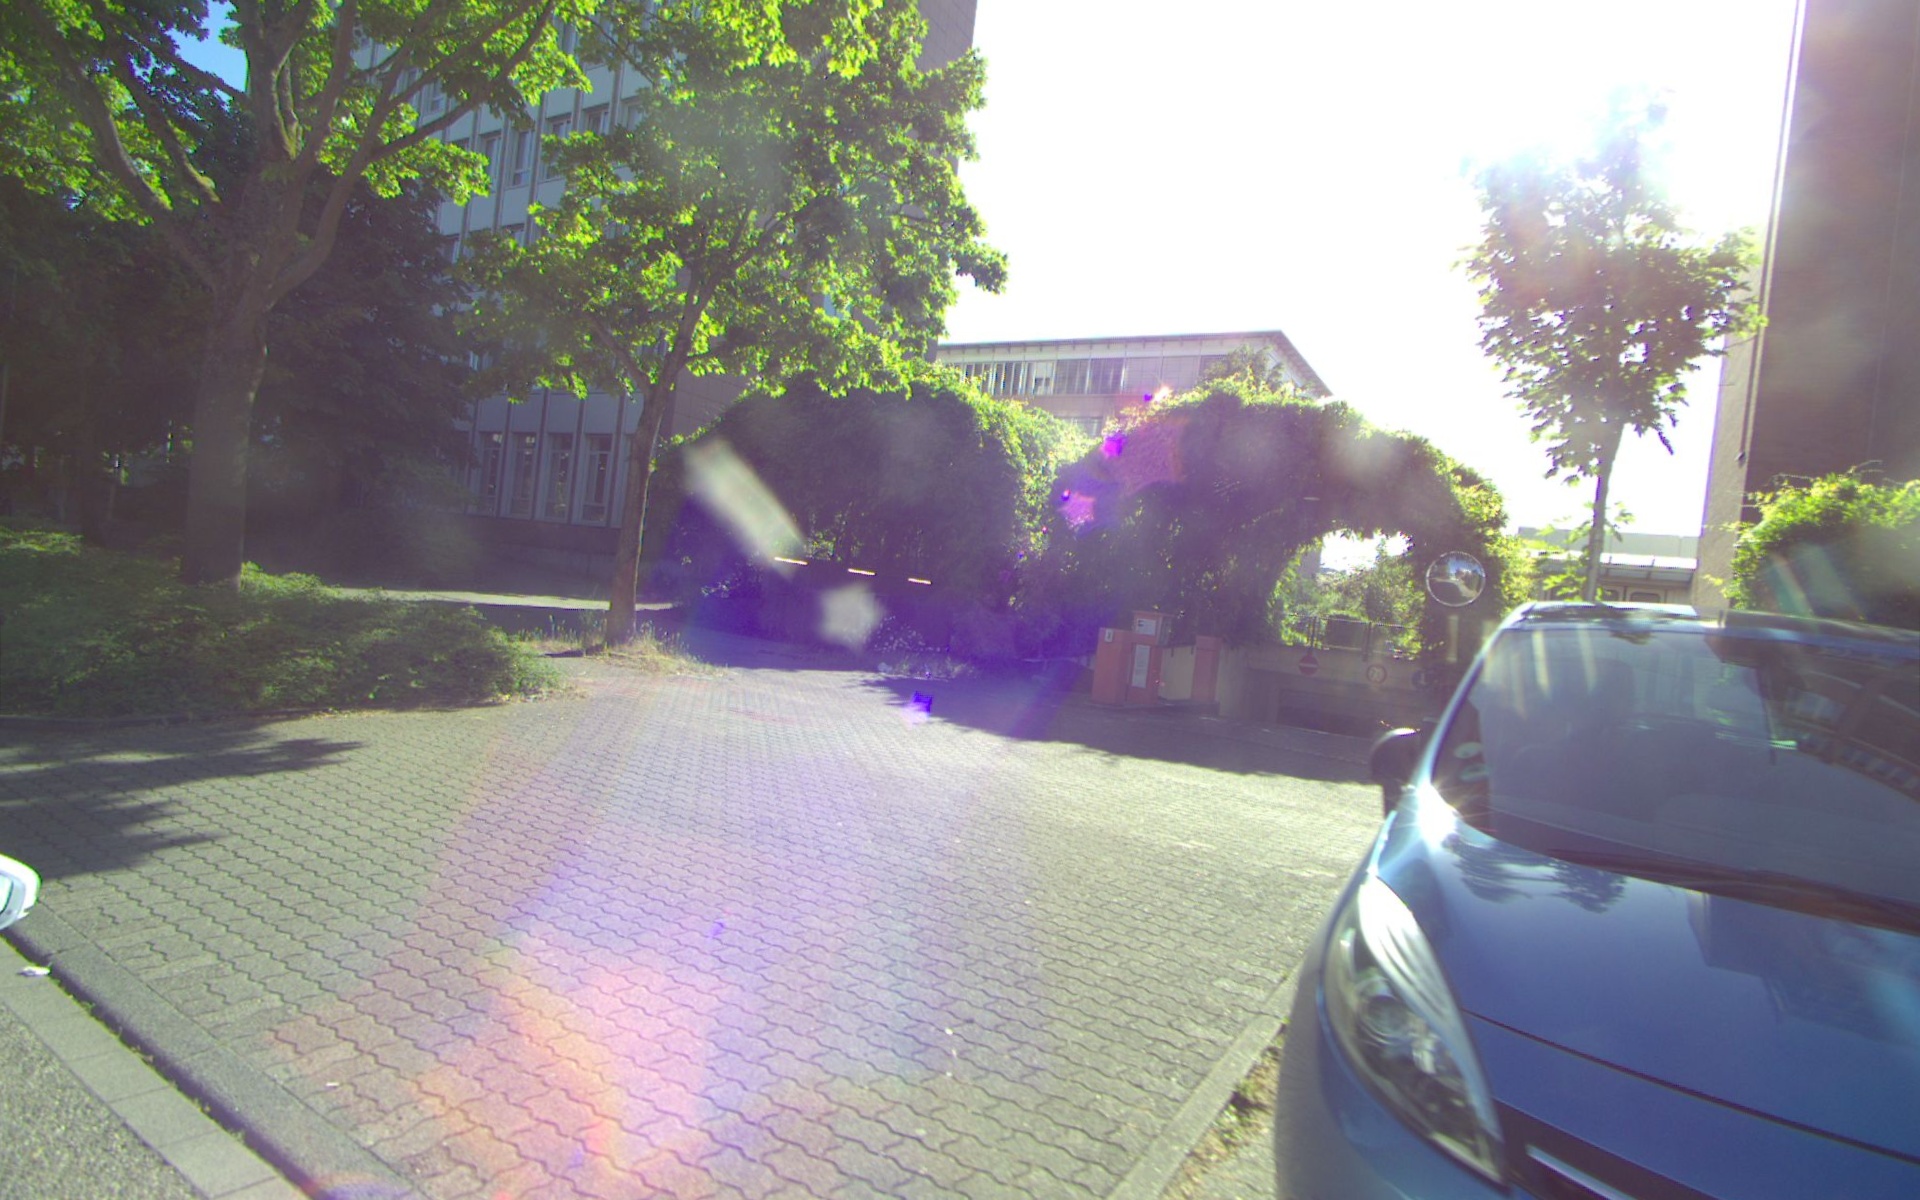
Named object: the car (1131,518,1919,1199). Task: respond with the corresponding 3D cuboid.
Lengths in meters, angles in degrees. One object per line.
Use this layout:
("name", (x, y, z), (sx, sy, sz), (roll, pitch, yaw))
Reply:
("car", (2.202, 0.831, 2.901), (1.880, 1.640, 4.405), (7, 3, 31))

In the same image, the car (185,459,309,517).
("car", (-32.547, -5.101, 46.042), (1.965, 1.803, 4.082), (7, -1, 28))
